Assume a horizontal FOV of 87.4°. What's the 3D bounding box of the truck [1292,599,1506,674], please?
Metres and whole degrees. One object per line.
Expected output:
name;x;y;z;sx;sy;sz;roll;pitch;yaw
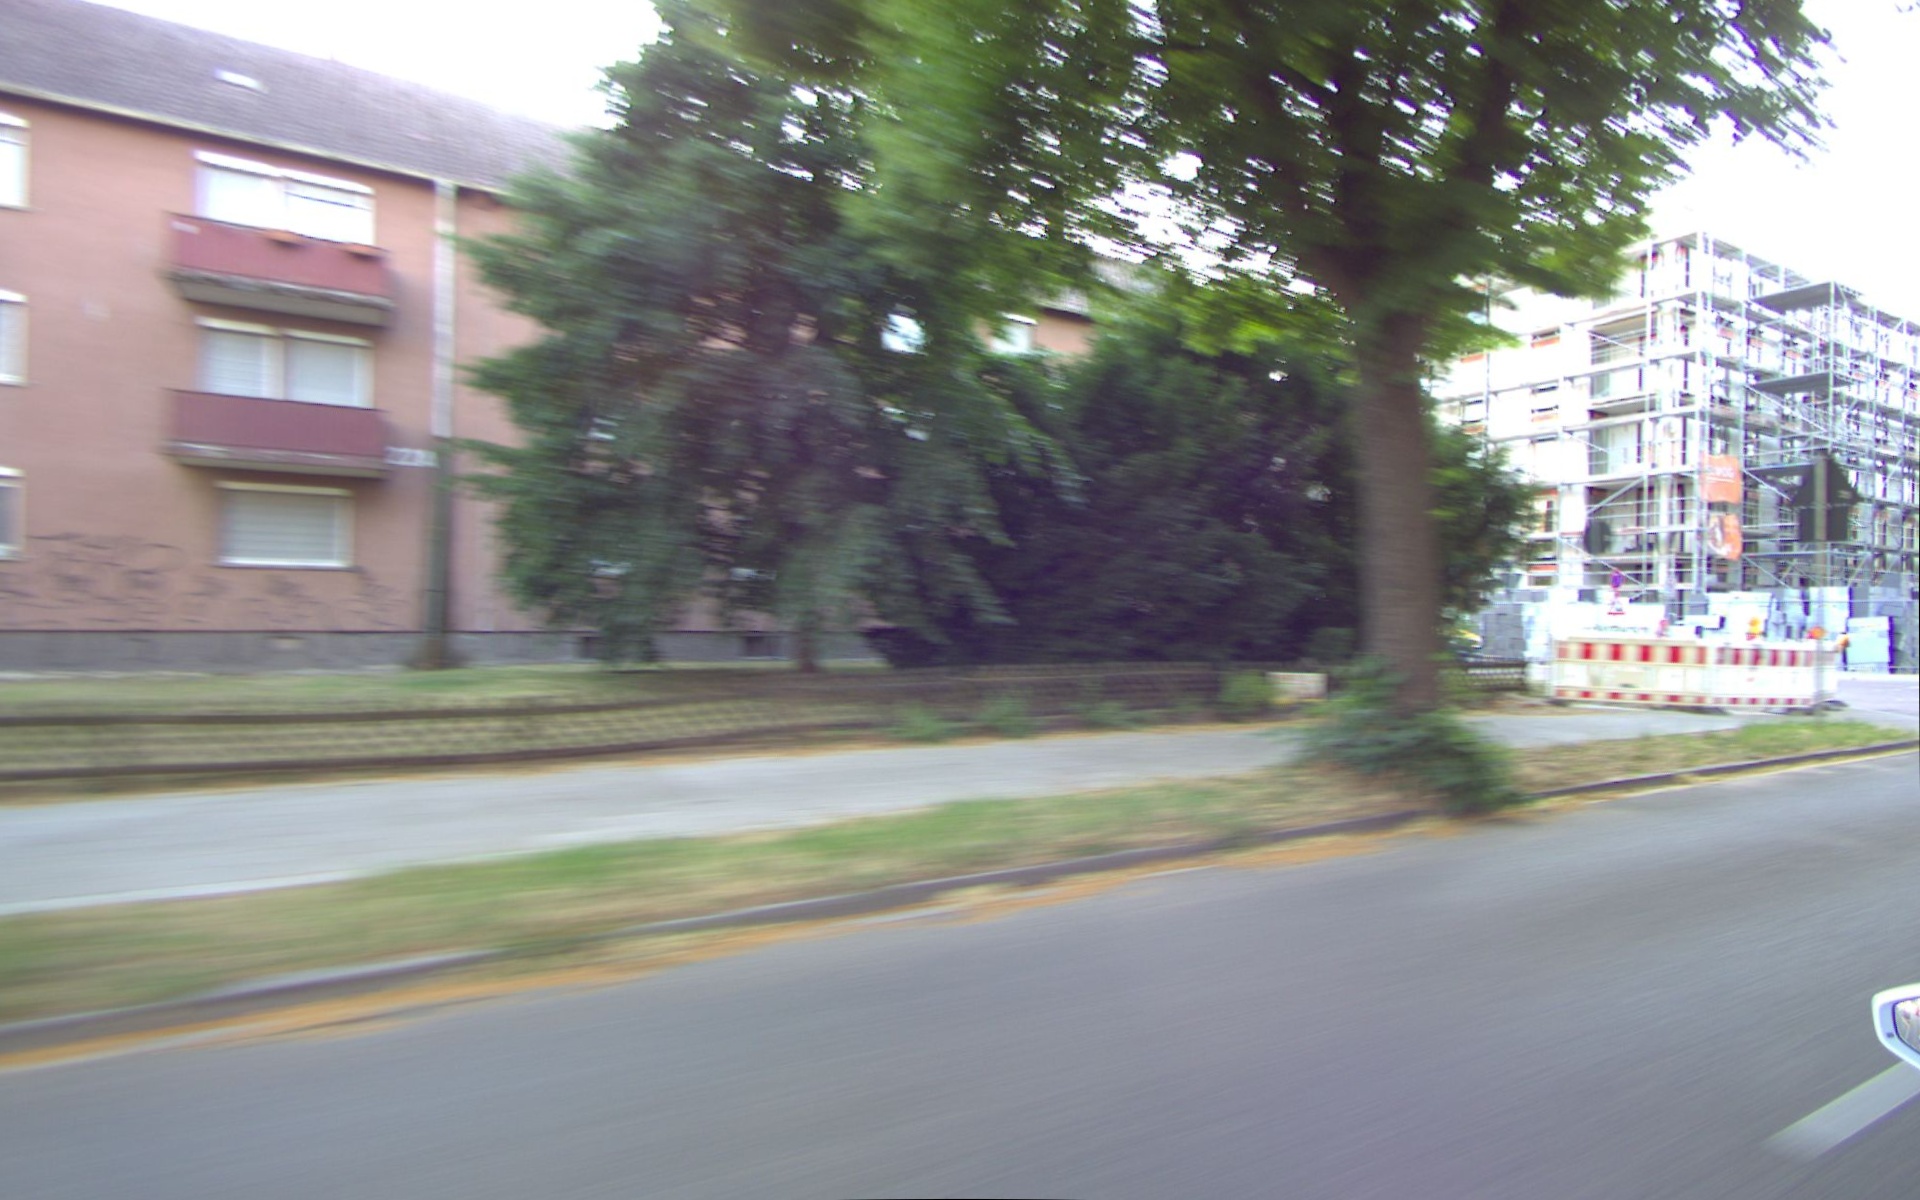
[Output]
truck;12.489;1.029;29.046;2.017;1.938;5.617;2;-2;-29
